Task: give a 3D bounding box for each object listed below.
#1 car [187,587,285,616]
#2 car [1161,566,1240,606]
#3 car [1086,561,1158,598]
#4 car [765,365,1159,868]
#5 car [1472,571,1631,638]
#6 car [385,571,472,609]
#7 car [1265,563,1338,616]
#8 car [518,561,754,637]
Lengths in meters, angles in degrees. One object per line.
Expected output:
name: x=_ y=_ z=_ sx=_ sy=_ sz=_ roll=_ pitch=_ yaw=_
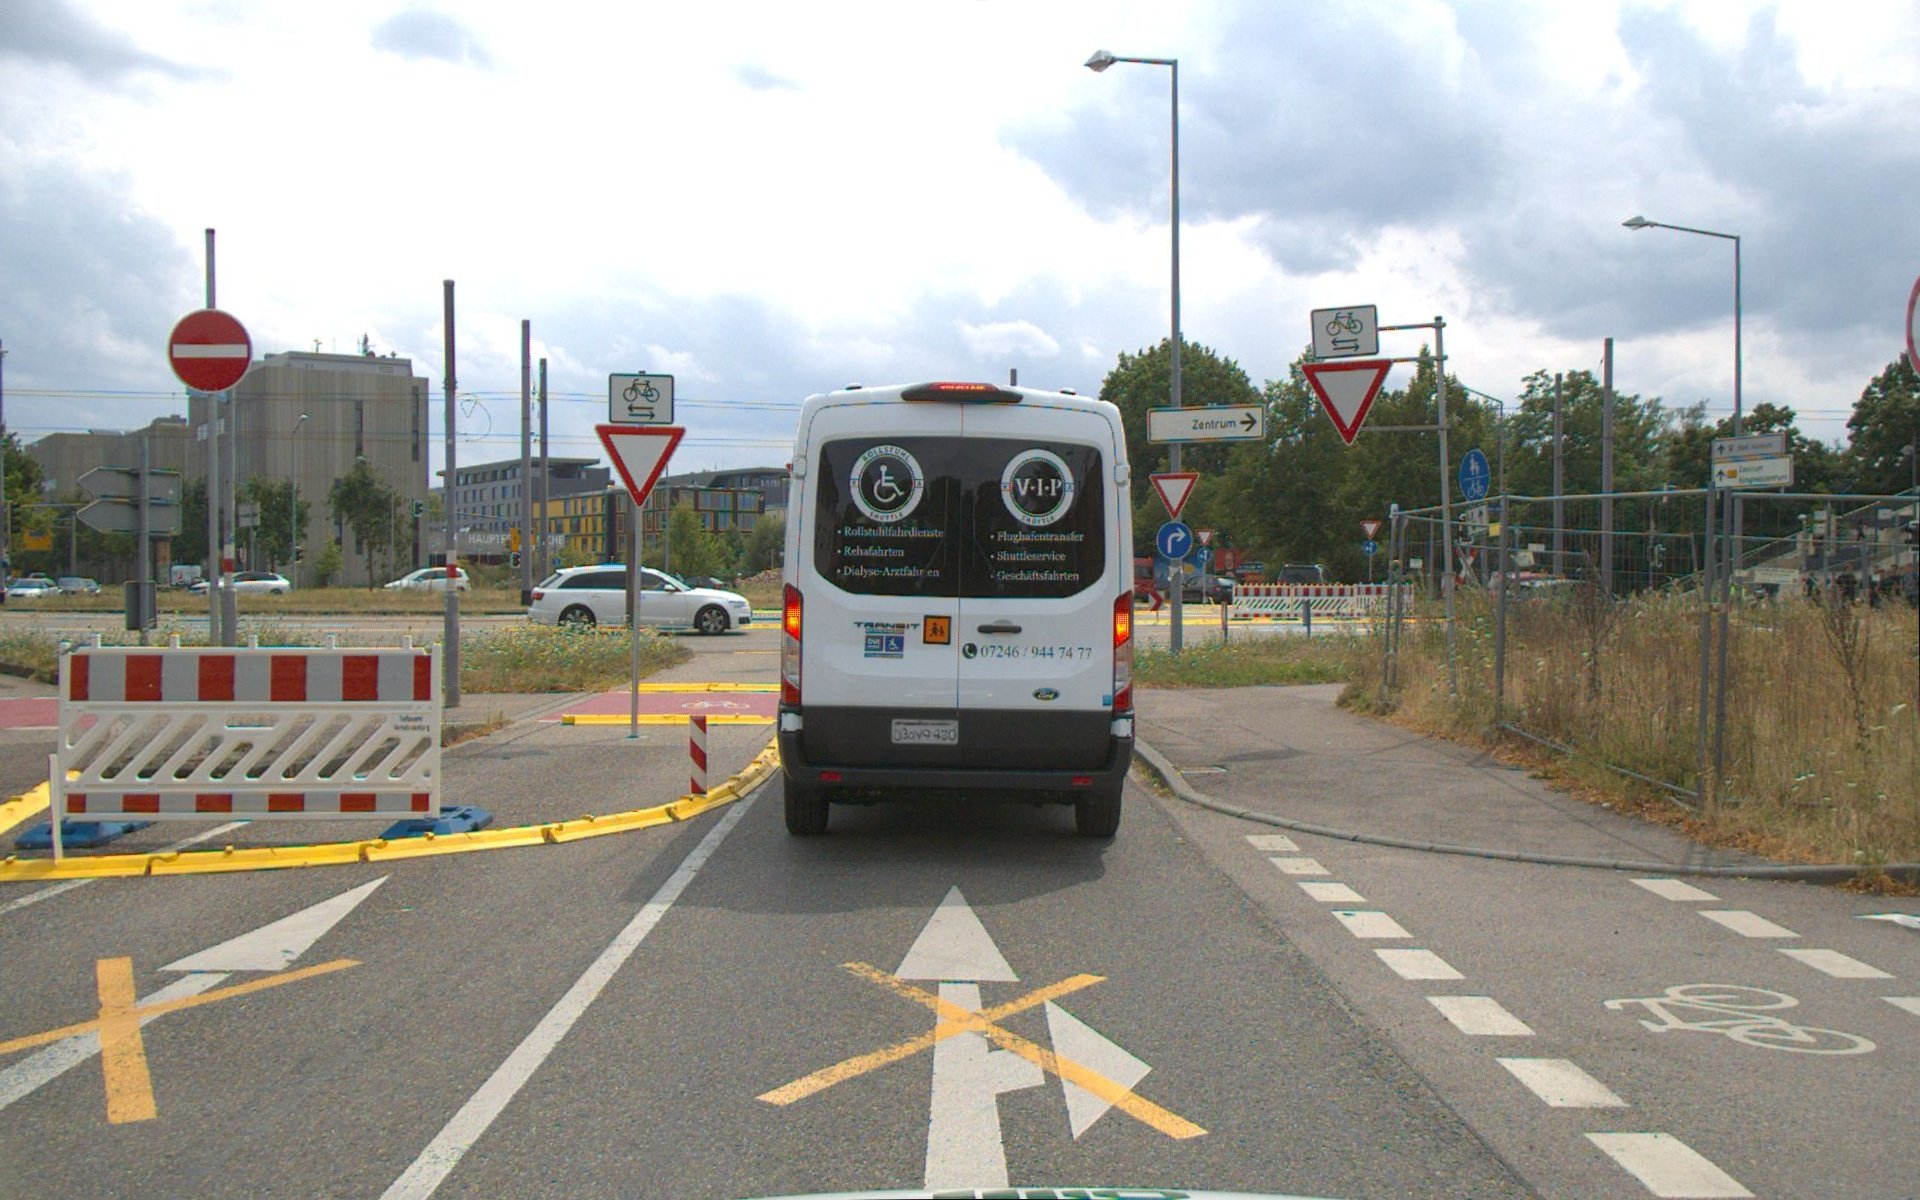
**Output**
car: x=-34.491 y=0.040 z=78.815 sx=3.966 sy=1.213 sz=1.660 roll=-3 pitch=2 yaw=-42
car: x=10.868 y=-0.636 z=75.025 sx=1.858 sy=1.690 sz=3.976 roll=-2 pitch=1 yaw=-20
car: x=8.562 y=-1.069 z=87.881 sx=1.979 sy=1.848 sz=4.382 roll=-2 pitch=1 yaw=-22
car: x=0.022 y=0.034 z=10.508 sx=2.020 sy=2.584 sz=4.001 roll=0 pitch=1 yaw=0
car: x=16.725 y=0.095 z=46.779 sx=3.926 sy=1.690 sz=1.881 roll=-2 pitch=1 yaw=-19
car: x=-27.516 y=-0.525 z=85.662 sx=3.957 sy=1.802 sz=1.745 roll=-3 pitch=2 yaw=-36
car: x=11.820 y=-0.381 z=57.050 sx=1.846 sy=1.690 sz=4.001 roll=-1 pitch=1 yaw=20
car: x=-7.040 y=-0.037 z=36.264 sx=4.935 sy=1.606 sz=1.861 roll=0 pitch=1 yaw=-10
